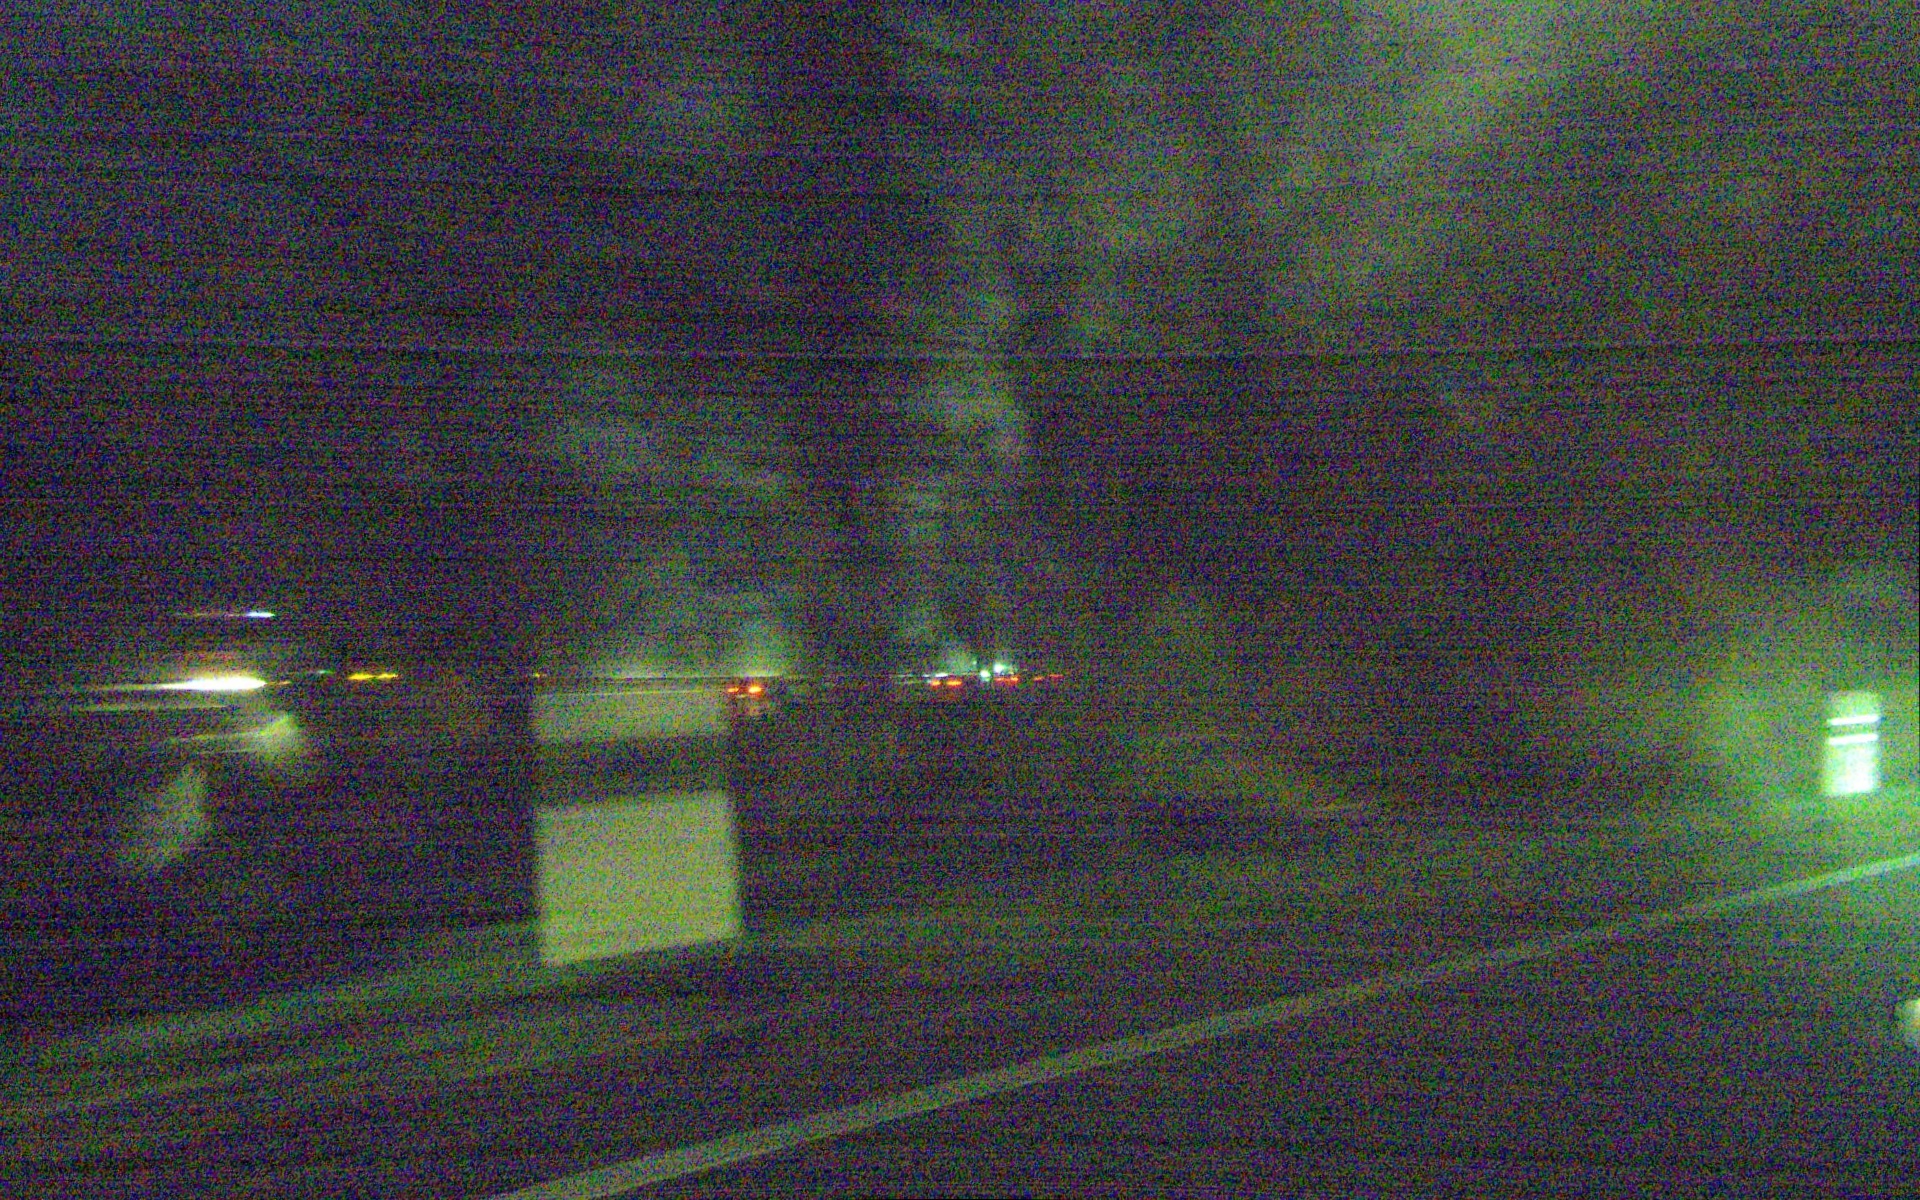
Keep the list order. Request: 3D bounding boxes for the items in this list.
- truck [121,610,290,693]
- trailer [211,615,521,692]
[{"bbox_3d":[-26.713,1.885,35.771,1.960,2.765,4.346,0,-4,18],"label":"truck"},{"bbox_3d":[-24.317,2.460,42.632,1.960,2.763,13.021,0,-5,19],"label":"trailer"}]
